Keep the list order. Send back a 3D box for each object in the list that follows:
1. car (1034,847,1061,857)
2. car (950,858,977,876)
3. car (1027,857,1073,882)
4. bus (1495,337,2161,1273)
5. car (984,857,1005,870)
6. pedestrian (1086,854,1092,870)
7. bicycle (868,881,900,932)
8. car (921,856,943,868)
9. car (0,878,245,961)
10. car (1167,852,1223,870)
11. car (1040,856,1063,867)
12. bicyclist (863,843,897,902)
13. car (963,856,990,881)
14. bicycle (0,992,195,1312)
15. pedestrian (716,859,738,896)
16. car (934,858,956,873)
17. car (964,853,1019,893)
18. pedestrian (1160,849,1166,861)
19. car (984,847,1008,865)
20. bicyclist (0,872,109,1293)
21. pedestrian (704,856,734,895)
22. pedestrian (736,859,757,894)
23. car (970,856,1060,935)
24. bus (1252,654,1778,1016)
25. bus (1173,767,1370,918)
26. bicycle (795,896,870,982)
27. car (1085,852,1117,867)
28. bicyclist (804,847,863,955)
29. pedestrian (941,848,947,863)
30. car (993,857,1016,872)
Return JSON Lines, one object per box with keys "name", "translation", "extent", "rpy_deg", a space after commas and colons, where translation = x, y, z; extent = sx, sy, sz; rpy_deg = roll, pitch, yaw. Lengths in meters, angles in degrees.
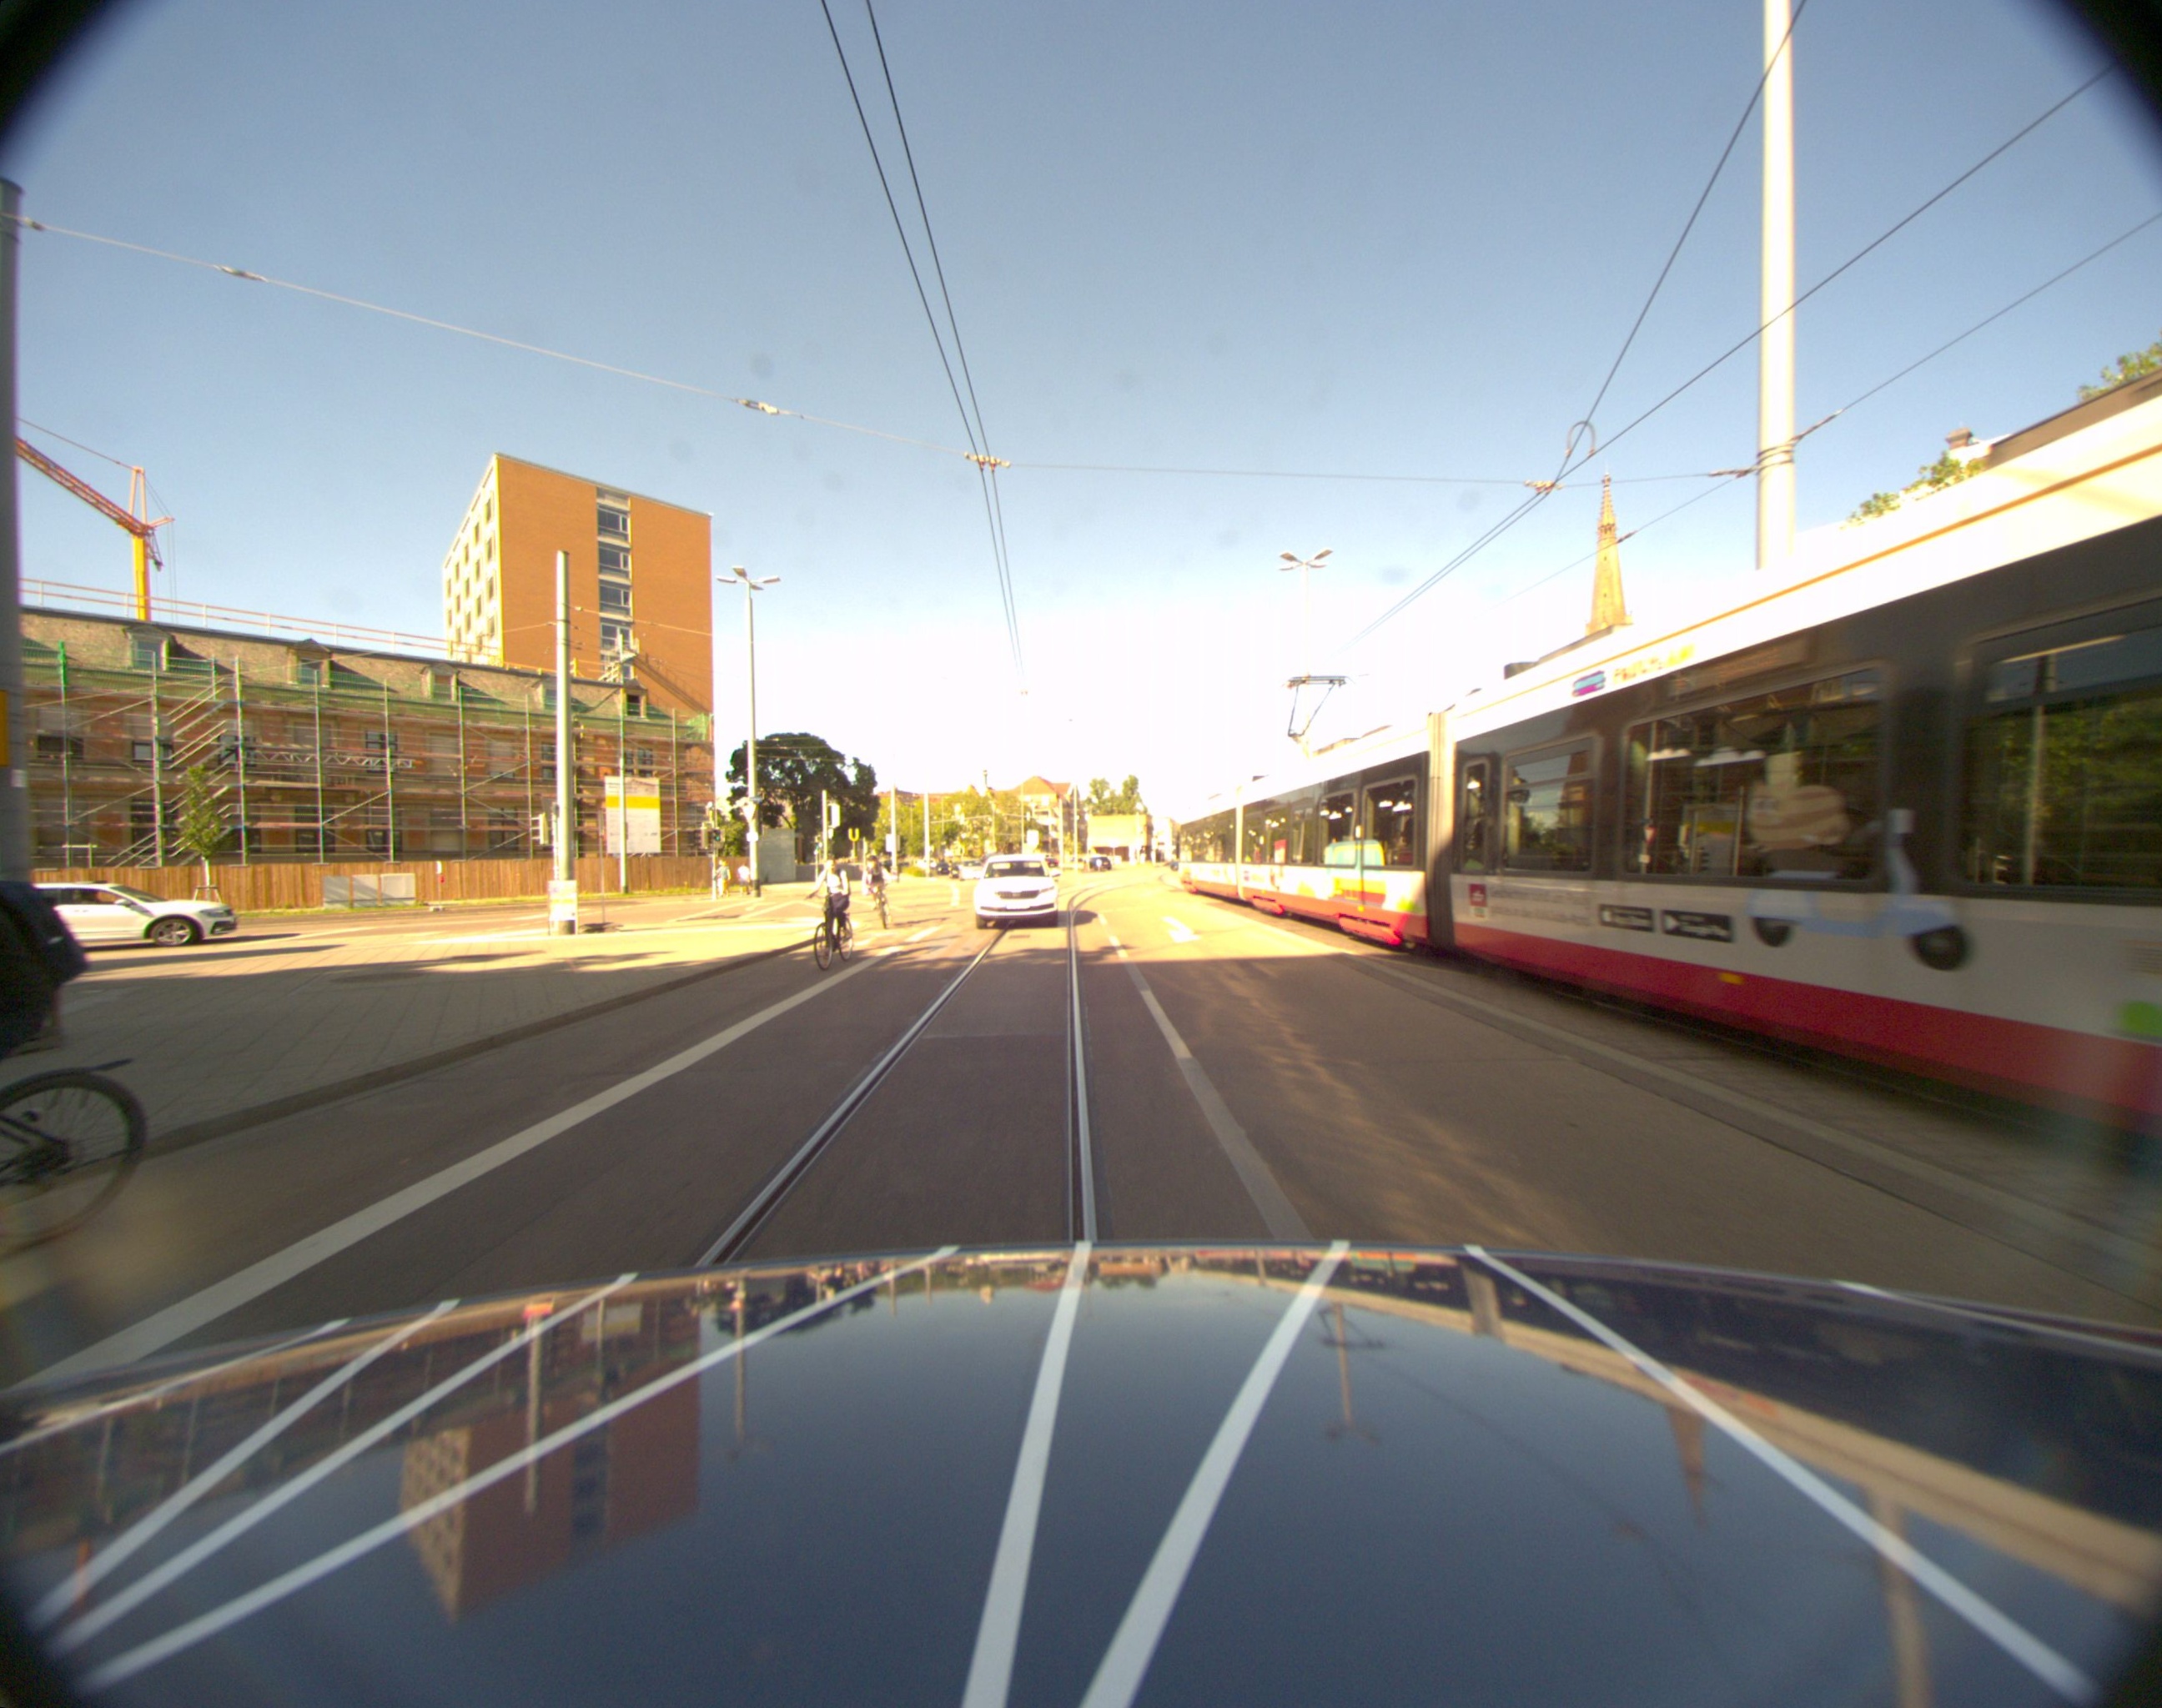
{"name": "car", "translation": [-6.841, -0.418, 155.350], "extent": [2.403, 1.793, 5.247], "rpy_deg": [-2, 1, 45]}
{"name": "car", "translation": [-11.200, 1.210, 72.078], "extent": [1.889, 1.557, 4.006], "rpy_deg": [-3, 1, -18]}
{"name": "car", "translation": [-2.025, 0.946, 48.978], "extent": [1.923, 1.450, 3.860], "rpy_deg": [-3, 1, -18]}
{"name": "bus", "translation": [5.544, -0.205, 1.928], "extent": [2.848, 3.568, 11.270], "rpy_deg": [-2, 0, 0]}
{"name": "car", "translation": [-10.328, 1.137, 90.453], "extent": [1.715, 1.450, 4.007], "rpy_deg": [-3, 1, -16]}
{"name": "pedestrian", "translation": [0.823, 0.826, 78.670], "extent": [0.372, 1.547, 0.644], "rpy_deg": [-3, 1, -7]}
{"name": "bicycle", "translation": [-4.937, 1.285, 18.937], "extent": [0.534, 1.152, 1.862], "rpy_deg": [-2, 0, -21]}
{"name": "car", "translation": [-19.529, 1.042, 99.573], "extent": [1.924, 1.450, 4.660], "rpy_deg": [-3, 1, -22]}
{"name": "car", "translation": [-23.562, 1.514, 18.316], "extent": [4.259, 1.612, 1.913], "rpy_deg": [-2, 2, -39]}
{"name": "car", "translation": [10.284, 0.637, 68.845], "extent": [4.587, 1.449, 1.917], "rpy_deg": [-1, 1, 36]}
{"name": "car", "translation": [-3.993, 1.022, 102.379], "extent": [1.853, 1.408, 4.473], "rpy_deg": [-2, 0, -18]}
{"name": "bicyclist", "translation": [-5.025, 0.445, 18.943], "extent": [0.676, 1.413, 1.034], "rpy_deg": [-3, 1, -19]}
{"name": "car", "translation": [-7.799, 1.044, 56.637], "extent": [1.887, 1.620, 4.009], "rpy_deg": [-3, 1, -8]}
{"name": "bicycle", "translation": [-4.447, 1.222, 2.587], "extent": [0.533, 1.111, 1.933], "rpy_deg": [-1, 1, 0]}
{"name": "pedestrian", "translation": [-17.287, 1.128, 37.103], "extent": [0.661, 1.747, 0.823], "rpy_deg": [-3, 1, -4]}
{"name": "car", "translation": [-15.390, 1.238, 85.958], "extent": [1.889, 1.557, 4.006], "rpy_deg": [-3, 1, -18]}
{"name": "car", "translation": [-4.217, 0.825, 35.215], "extent": [1.888, 1.620, 4.007], "rpy_deg": [-3, 1, -15]}
{"name": "pedestrian", "translation": [13.420, 0.203, 124.231], "extent": [0.857, 1.870, 0.693], "rpy_deg": [-2, 1, 20]}
{"name": "car", "translation": [-13.841, 0.304, 123.025], "extent": [2.246, 2.665, 5.295], "rpy_deg": [-3, 1, -24]}
{"name": "bicyclist", "translation": [-4.479, 0.898, 2.725], "extent": [0.625, 1.604, 0.980], "rpy_deg": [-3, 1, -4]}
{"name": "pedestrian", "translation": [-18.305, 1.084, 38.472], "extent": [0.933, 1.918, 1.048], "rpy_deg": [-3, 1, -4]}
{"name": "pedestrian", "translation": [-16.659, 1.115, 37.855], "extent": [0.661, 1.667, 0.823], "rpy_deg": [-3, 1, -4]}
{"name": "car", "translation": [-1.531, 0.899, 18.410], "extent": [1.869, 1.635, 4.395], "rpy_deg": [-2, 0, -4]}
{"name": "bus", "translation": [5.588, -0.201, 13.029], "extent": [2.848, 3.568, 10.725], "rpy_deg": [-2, 0, 0]}
{"name": "bus", "translation": [5.447, -0.293, 25.202], "extent": [2.848, 3.568, 13.493], "rpy_deg": [-2, 0, -1]}
{"name": "bicycle", "translation": [-3.822, 1.267, 11.833], "extent": [0.533, 1.111, 1.933], "rpy_deg": [-3, 0, -1]}
{"name": "car", "translation": [2.191, 0.594, 85.578], "extent": [2.046, 1.568, 4.621], "rpy_deg": [-2, 1, -20]}
{"name": "bicyclist", "translation": [-3.861, 0.703, 11.920], "extent": [0.551, 1.604, 0.952], "rpy_deg": [-3, 1, -2]}
{"name": "pedestrian", "translation": [-23.119, 0.280, 128.185], "extent": [0.876, 2.421, 0.888], "rpy_deg": [-3, 1, -21]}
{"name": "car", "translation": [-8.529, 1.145, 84.131], "extent": [1.888, 1.450, 4.007], "rpy_deg": [-3, 1, -15]}
